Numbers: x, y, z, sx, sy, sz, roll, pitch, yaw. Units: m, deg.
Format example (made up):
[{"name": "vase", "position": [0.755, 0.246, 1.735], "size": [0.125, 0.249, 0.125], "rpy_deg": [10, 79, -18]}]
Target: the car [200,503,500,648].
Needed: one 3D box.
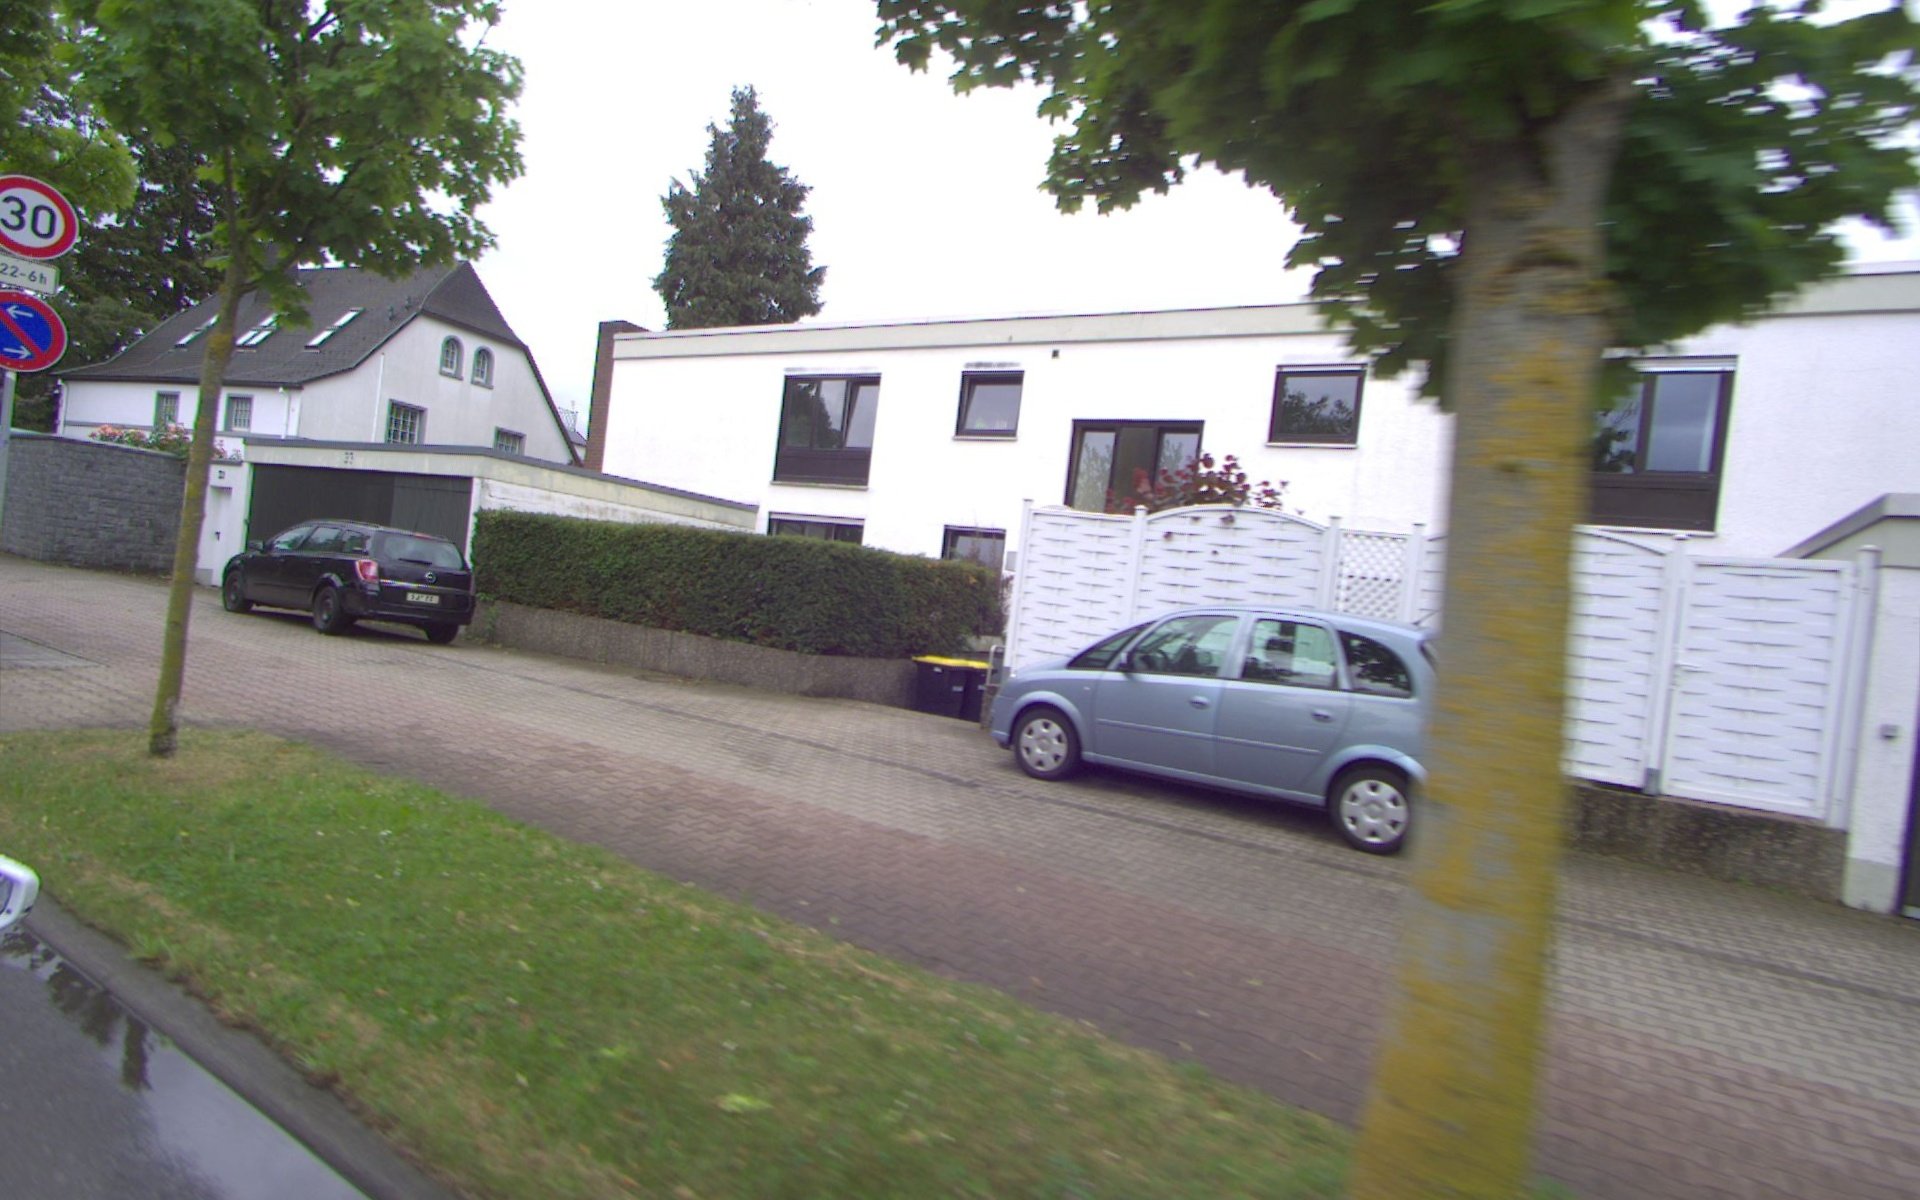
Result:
[{"name": "car", "position": [-8.653, -0.373, 14.149], "size": [4.470, 1.517, 1.772], "rpy_deg": [7, 1, 33]}]

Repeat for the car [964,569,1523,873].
[{"name": "car", "position": [2.221, 0.798, 8.245], "size": [3.935, 1.631, 1.745], "rpy_deg": [7, 1, 33]}]
